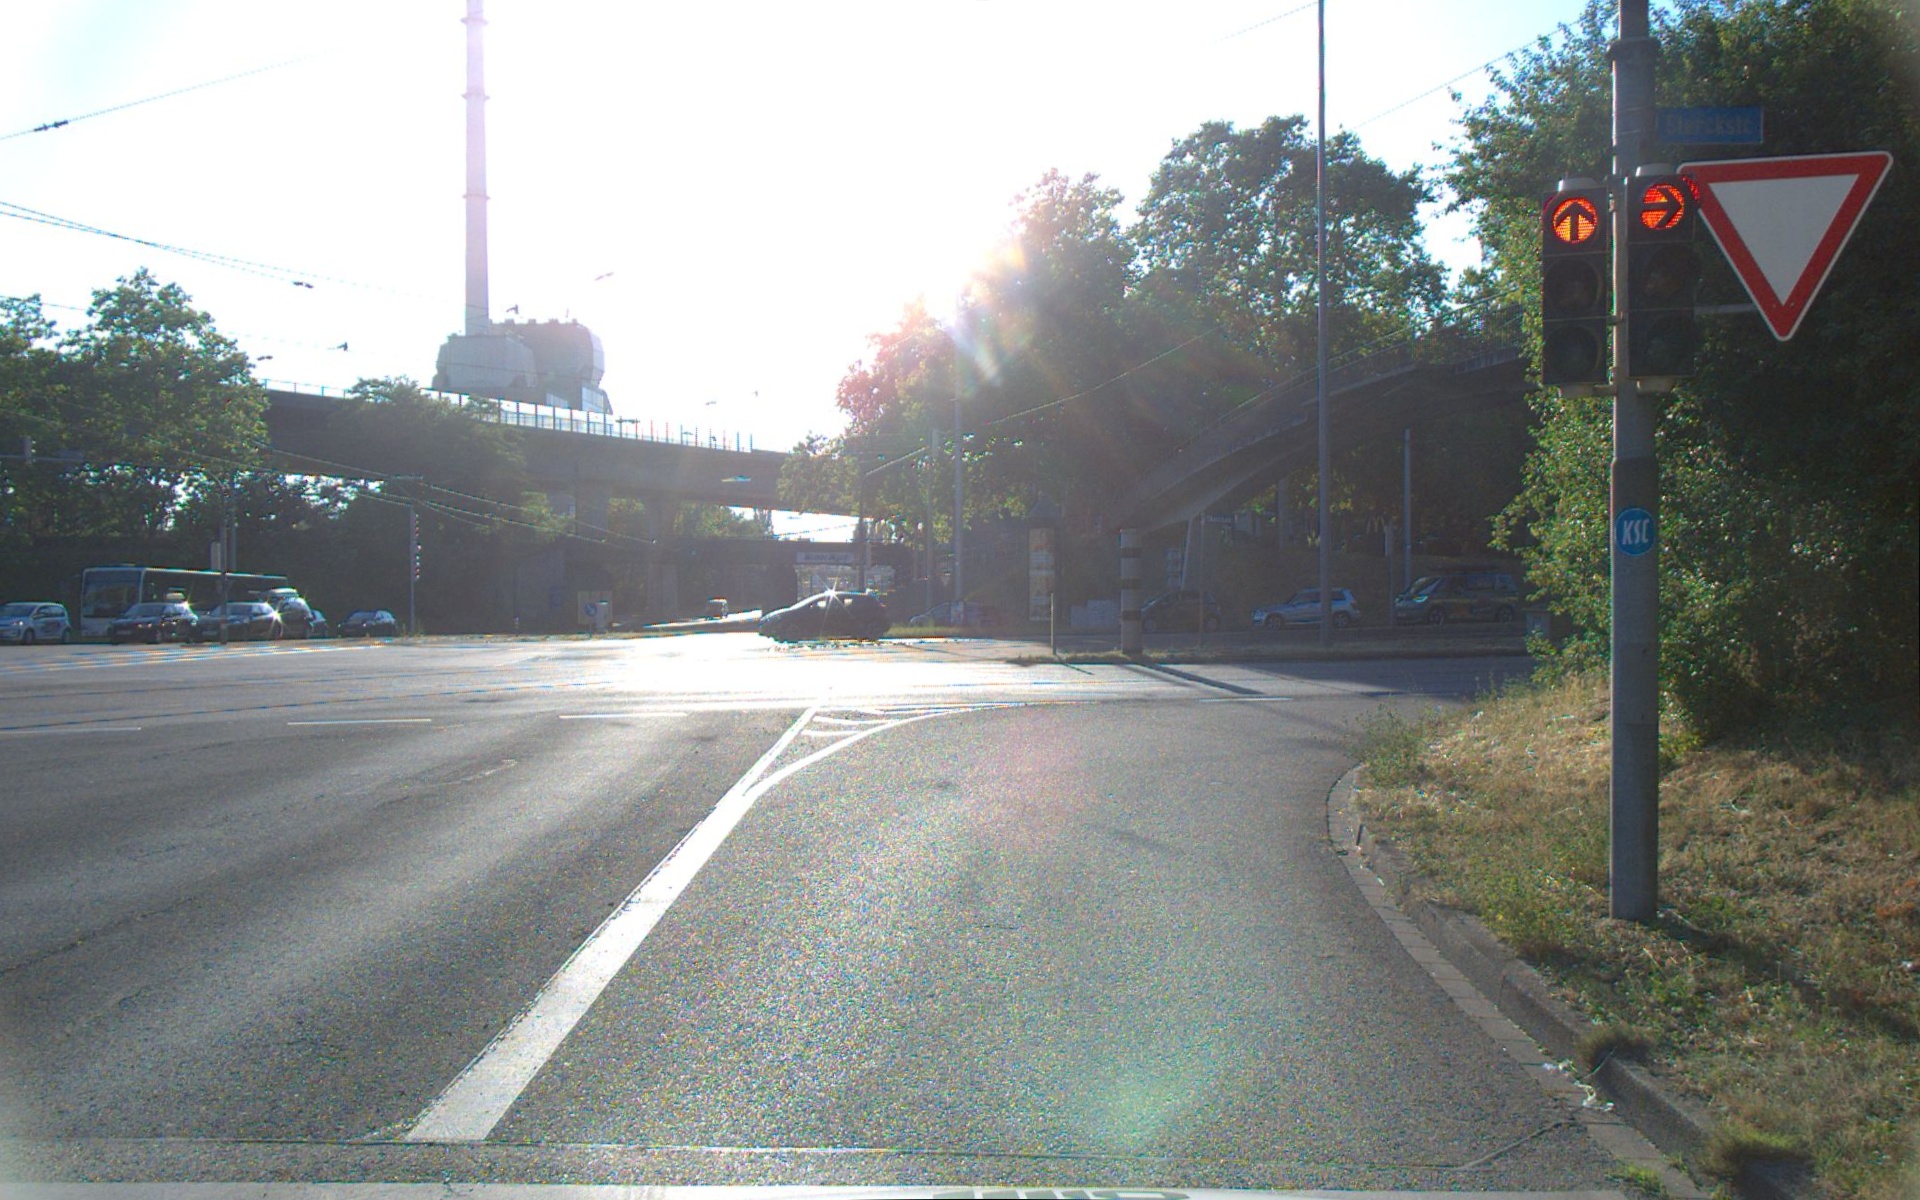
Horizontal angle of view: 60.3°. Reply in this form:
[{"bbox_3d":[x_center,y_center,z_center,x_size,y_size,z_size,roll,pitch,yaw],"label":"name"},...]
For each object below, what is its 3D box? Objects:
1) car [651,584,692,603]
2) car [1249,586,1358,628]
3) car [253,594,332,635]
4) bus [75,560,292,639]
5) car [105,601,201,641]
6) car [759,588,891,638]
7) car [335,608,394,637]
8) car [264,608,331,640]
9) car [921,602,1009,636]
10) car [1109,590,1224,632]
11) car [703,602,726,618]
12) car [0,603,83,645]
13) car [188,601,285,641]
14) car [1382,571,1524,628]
[{"bbox_3d":[-28.665,-0.675,164.423,1.957,1.802,3.991,1,0,31],"label":"car"},{"bbox_3d":[14.037,0.285,67.683,4.120,1.681,1.716,0,0,-1],"label":"car"},{"bbox_3d":[-28.250,0.596,70.124,1.676,1.681,4.095,0,0,0],"label":"car"},{"bbox_3d":[-32.119,-0.031,69.303,2.764,3.006,12.855,0,0,1],"label":"bus"},{"bbox_3d":[-28.502,0.725,58.509,1.572,1.378,3.998,0,0,-3],"label":"car"},{"bbox_3d":[-4.053,0.391,49.510,3.666,1.447,1.687,0,0,-20],"label":"car"},{"bbox_3d":[-31.220,1.160,86.805,1.665,1.467,4.000,0,0,0],"label":"car"},{"bbox_3d":[-32.006,1.153,80.020,1.665,1.467,4.000,0,0,0],"label":"car"},{"bbox_3d":[0.190,0.842,73.328,1.682,1.447,4.089,0,0,-41],"label":"car"},{"bbox_3d":[7.245,0.382,58.135,3.666,1.447,1.687,0,0,-20],"label":"car"},{"bbox_3d":[-26.233,1.048,176.759,1.675,1.681,4.096,0,0,2],"label":"car"},{"bbox_3d":[-32.132,0.804,57.329,1.572,1.378,3.732,0,0,-3],"label":"car"},{"bbox_3d":[-25.734,0.715,58.992,1.676,1.378,4.095,0,0,0],"label":"car"},{"bbox_3d":[17.444,-0.010,58.557,4.623,1.939,1.987,0,0,-22],"label":"car"}]
